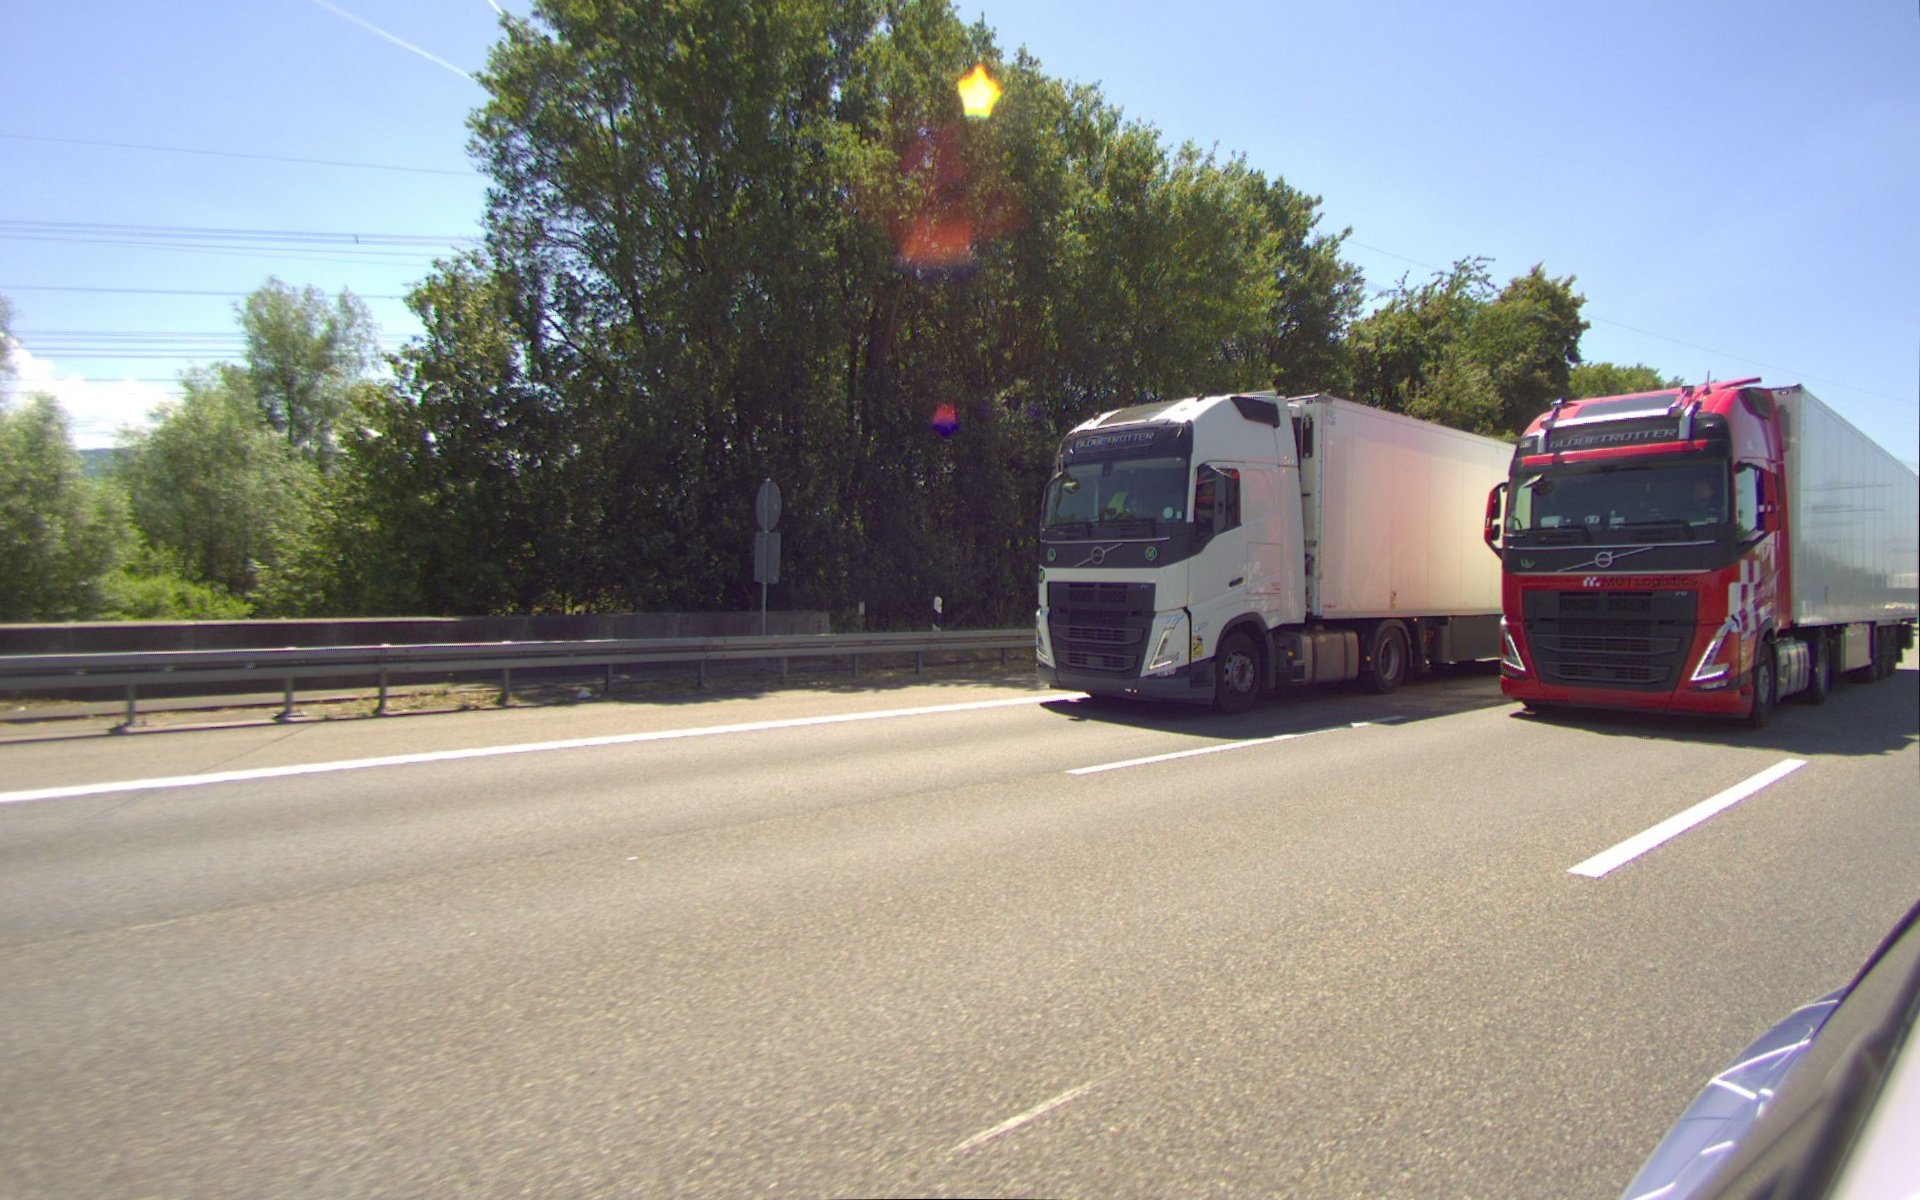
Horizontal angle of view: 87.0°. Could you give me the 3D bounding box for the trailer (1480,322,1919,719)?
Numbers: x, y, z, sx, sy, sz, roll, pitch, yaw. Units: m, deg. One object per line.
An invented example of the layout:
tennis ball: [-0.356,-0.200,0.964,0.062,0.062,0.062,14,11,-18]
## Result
trailer: [13.378,-0.905,16.785,15.921,4.068,2.942,-1,1,-42]

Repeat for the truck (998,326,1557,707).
truck: [5.560,-0.976,15.686,10.784,4.144,3.031,-1,1,-41]

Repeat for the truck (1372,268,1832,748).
truck: [7.574,-0.819,11.624,5.996,4.036,2.945,-1,1,-42]

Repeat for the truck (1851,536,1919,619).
truck: [46.839,-1.067,50.788,9.869,3.819,1.985,0,1,-42]
